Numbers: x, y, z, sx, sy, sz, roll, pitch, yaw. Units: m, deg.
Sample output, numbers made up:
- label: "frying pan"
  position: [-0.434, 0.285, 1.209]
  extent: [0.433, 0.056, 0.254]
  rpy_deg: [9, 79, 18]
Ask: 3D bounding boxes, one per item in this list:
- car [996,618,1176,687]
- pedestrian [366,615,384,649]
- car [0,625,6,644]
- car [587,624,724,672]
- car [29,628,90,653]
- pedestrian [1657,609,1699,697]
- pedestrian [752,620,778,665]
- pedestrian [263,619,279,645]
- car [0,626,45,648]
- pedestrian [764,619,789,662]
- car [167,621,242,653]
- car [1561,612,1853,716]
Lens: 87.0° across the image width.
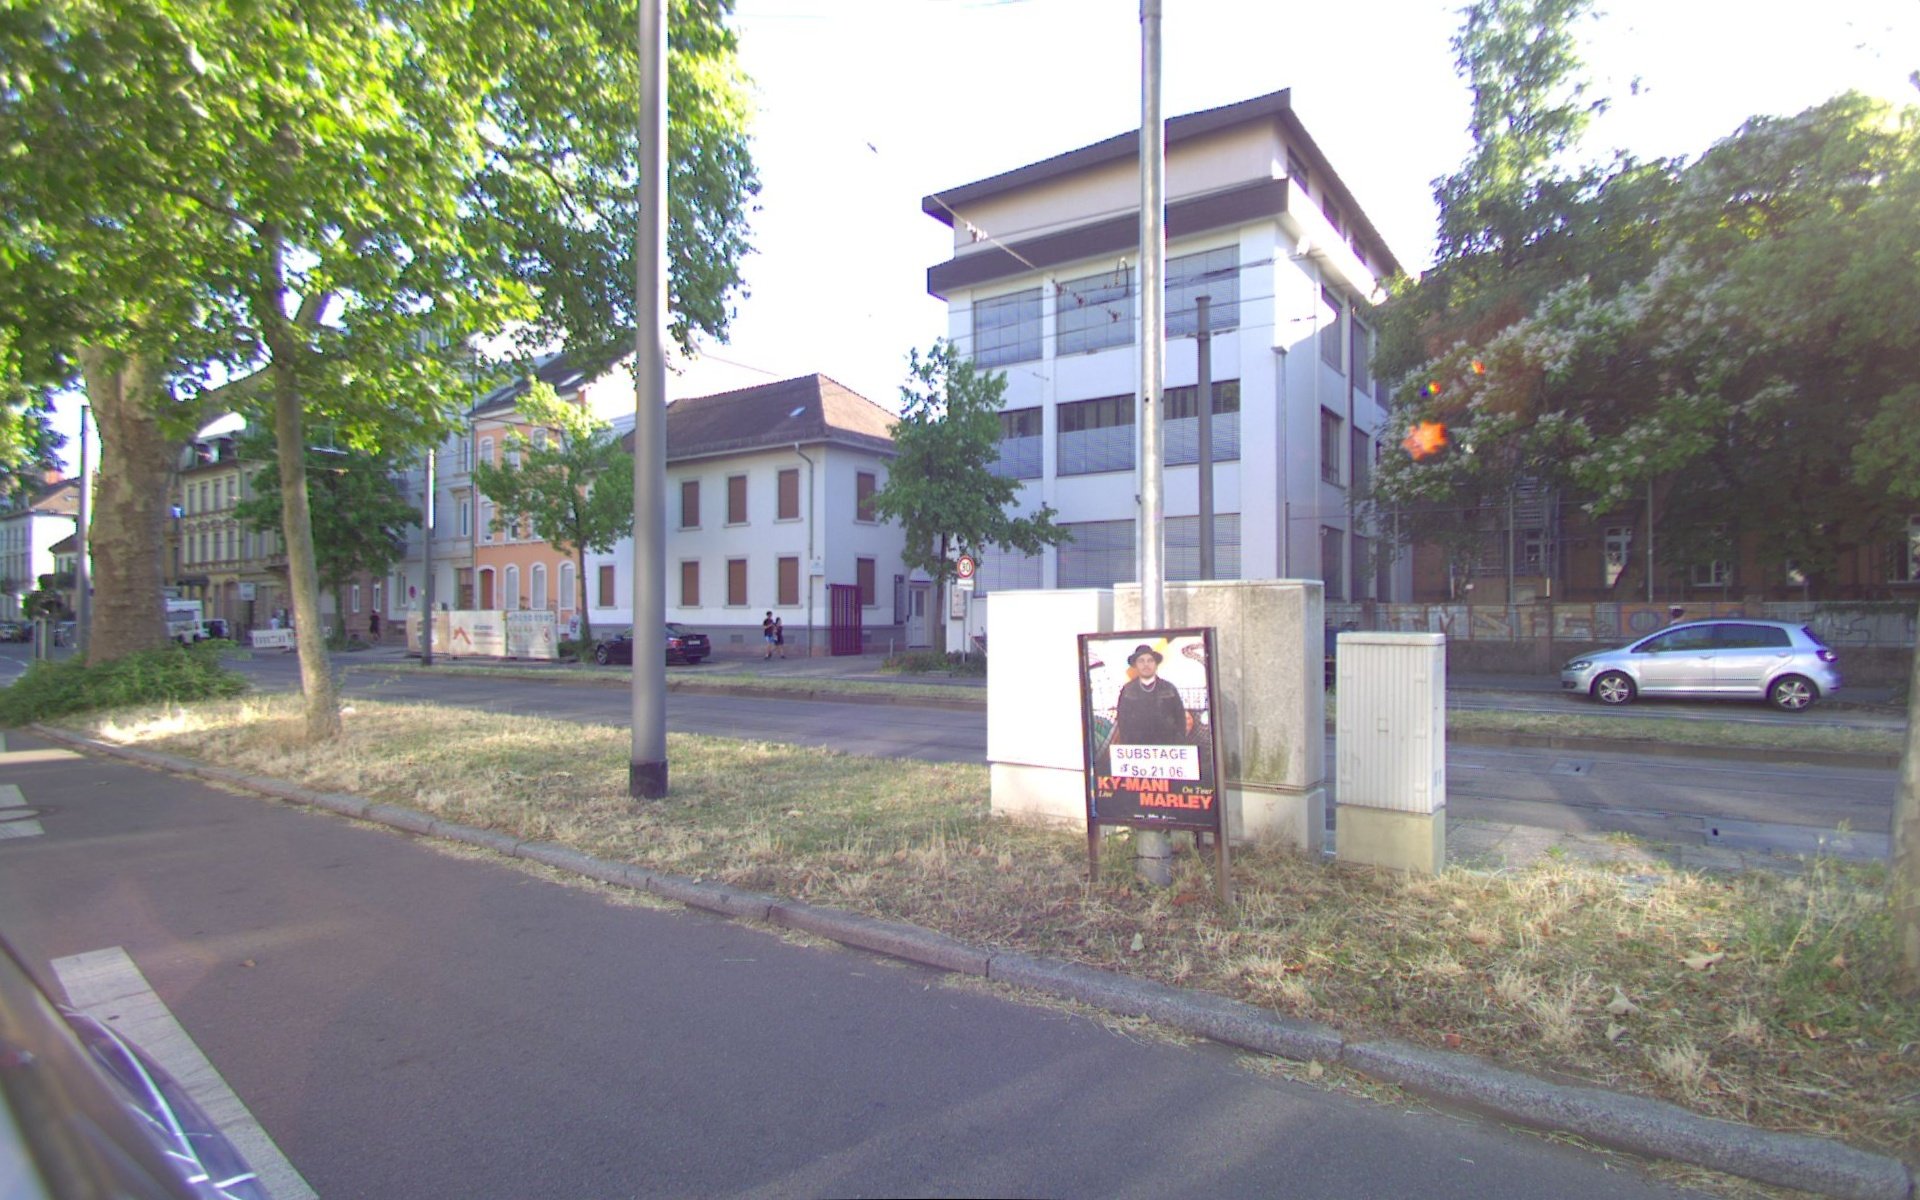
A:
- label: "car"
  position: [3.162, 1.269, 25.557]
  extent: [3.985, 1.501, 2.065]
  rpy_deg: [-1, 1, 33]
- label: "pedestrian"
  position: [-31.571, 1.706, 54.611]
  extent: [0.704, 1.823, 0.555]
  rpy_deg: [-1, -2, 37]
- label: "car"
  position: [-81.329, 2.904, 84.124]
  extent: [4.027, 1.551, 2.065]
  rpy_deg: [-1, 1, 33]
- label: "car"
  position: [-10.572, 1.613, 35.040]
  extent: [4.566, 1.481, 2.065]
  rpy_deg: [-1, 1, 33]
- label: "car"
  position: [-63.453, 2.828, 71.287]
  extent: [4.503, 1.551, 2.065]
  rpy_deg: [-1, 1, 33]
- label: "pedestrian"
  position: [13.974, 1.017, 19.709]
  extent: [0.630, 1.677, 0.563]
  rpy_deg: [-1, 1, 34]
- label: "pedestrian"
  position: [-6.824, 1.483, 35.403]
  extent: [0.708, 1.540, 0.532]
  rpy_deg: [-1, -2, 29]
- label: "pedestrian"
  position: [-41.686, 1.938, 61.215]
  extent: [0.614, 1.540, 0.633]
  rpy_deg: [-1, -2, 36]
- label: "car"
  position: [-73.864, 2.860, 79.214]
  extent: [5.090, 1.551, 2.065]
  rpy_deg: [-1, 1, 33]
- label: "pedestrian"
  position: [-6.610, 1.454, 36.474]
  extent: [0.710, 1.540, 0.531]
  rpy_deg: [-1, -2, 35]
- label: "car"
  position: [-44.114, 2.116, 59.074]
  extent: [4.520, 1.686, 2.065]
  rpy_deg: [-1, 1, 33]
- label: "car"
  position: [13.449, 1.088, 18.564]
  extent: [4.086, 1.631, 2.065]
  rpy_deg: [-1, 1, 33]
